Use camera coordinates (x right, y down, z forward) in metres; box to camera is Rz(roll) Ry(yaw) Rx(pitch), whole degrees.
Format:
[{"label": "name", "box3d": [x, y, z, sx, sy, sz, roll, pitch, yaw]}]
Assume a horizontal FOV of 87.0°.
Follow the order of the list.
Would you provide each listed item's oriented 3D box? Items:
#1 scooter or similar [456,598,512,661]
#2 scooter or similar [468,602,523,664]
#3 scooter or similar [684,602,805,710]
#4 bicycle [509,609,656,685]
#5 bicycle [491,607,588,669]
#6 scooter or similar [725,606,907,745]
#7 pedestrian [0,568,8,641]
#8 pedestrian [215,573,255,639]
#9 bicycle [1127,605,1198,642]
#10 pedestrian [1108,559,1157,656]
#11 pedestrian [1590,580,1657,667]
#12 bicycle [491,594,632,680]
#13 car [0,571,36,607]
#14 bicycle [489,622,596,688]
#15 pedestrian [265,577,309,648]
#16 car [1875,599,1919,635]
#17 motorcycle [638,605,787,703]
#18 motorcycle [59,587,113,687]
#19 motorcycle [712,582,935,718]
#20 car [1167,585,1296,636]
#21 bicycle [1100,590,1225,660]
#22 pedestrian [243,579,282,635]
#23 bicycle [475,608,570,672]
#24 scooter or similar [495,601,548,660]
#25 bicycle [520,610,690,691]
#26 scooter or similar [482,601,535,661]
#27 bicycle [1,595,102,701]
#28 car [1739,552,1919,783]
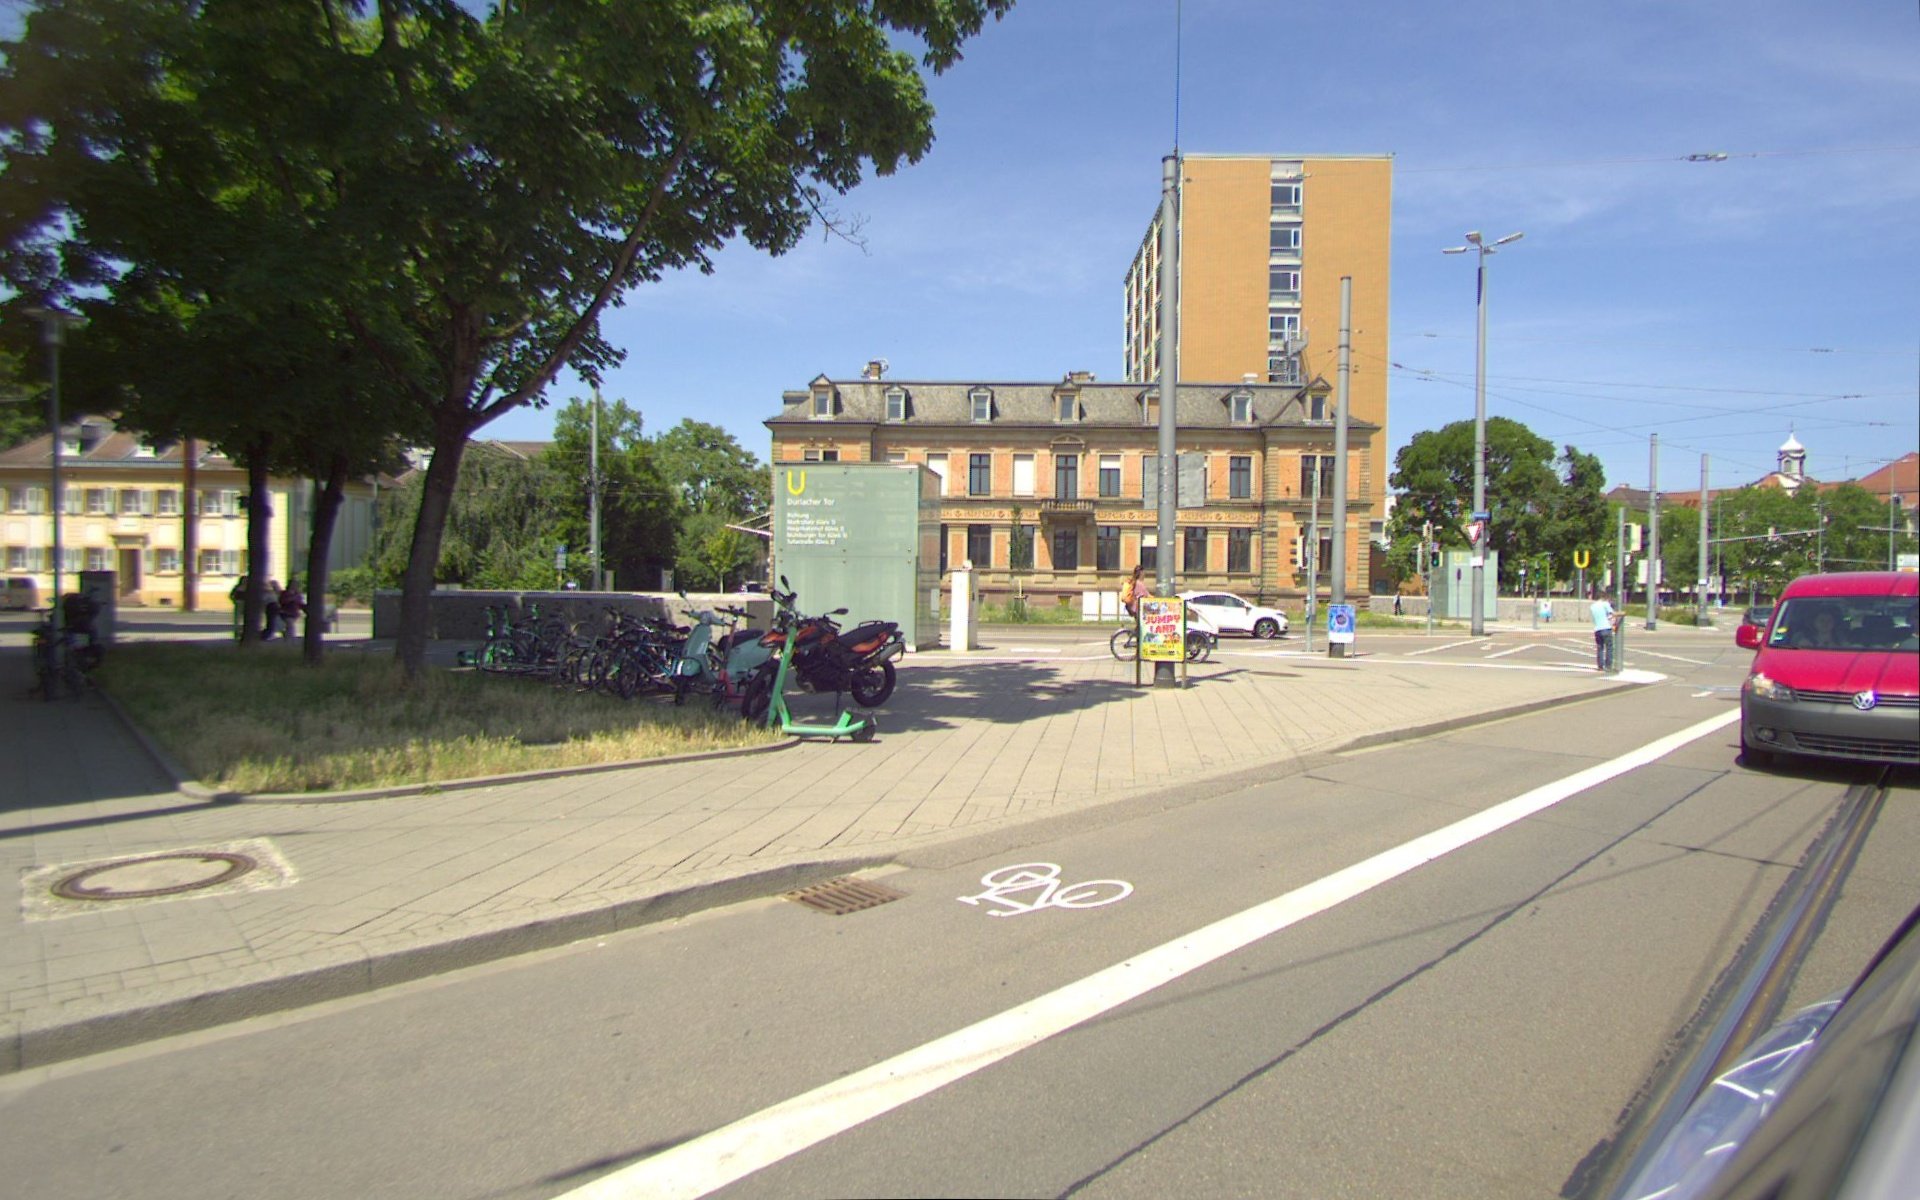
[{"label": "scooter or similar", "box3d": [-8.878, 0.550, 18.875, 0.972, 1.140, 0.267, 1, 0, 13]}, {"label": "scooter or similar", "box3d": [-8.814, 0.626, 19.201, 0.972, 1.140, 0.267, 1, 0, 13]}, {"label": "scooter or similar", "box3d": [-2.541, 0.624, 12.019, 0.599, 1.166, 1.361, 1, 2, 37]}, {"label": "bicycle", "box3d": [-5.225, 0.622, 14.087, 1.806, 0.977, 0.646, 0, 1, -41]}, {"label": "bicycle", "box3d": [-7.312, 0.641, 17.658, 0.500, 1.004, 1.552, 1, 1, 32]}, {"label": "scooter or similar", "box3d": [-1.322, 0.656, 9.352, 1.505, 1.170, 0.711, 1, 0, 19]}, {"label": "pedestrian", "box3d": [-23.173, 0.105, 24.025, 0.575, 1.720, 0.613, 1, 0, 6]}, {"label": "pedestrian", "box3d": [-19.099, 0.151, 26.670, 0.575, 1.720, 0.613, 1, 0, 7]}, {"label": "bicycle", "box3d": [5.882, 0.663, 29.430, 1.988, 1.018, 0.723, 1, 0, 12]}, {"label": "pedestrian", "box3d": [3.281, 0.132, 19.326, 0.809, 1.797, 0.814, 0, 1, 3]}, {"label": "pedestrian", "box3d": [14.161, 0.486, 21.628, 0.856, 1.802, 0.811, 0, 0, -11]}, {"label": "bicycle", "box3d": [-5.744, 0.508, 14.663, 0.645, 1.161, 1.810, 1, 1, 42]}, {"label": "car", "box3d": [-49.519, -0.584, 51.661, 3.420, 1.805, 1.639, 1, 0, 6]}, {"label": "bicycle", "box3d": [-6.223, 0.801, 15.132, 0.455, 0.917, 1.407, 1, 0, 42]}, {"label": "pedestrian", "box3d": [-15.811, 0.286, 23.775, 0.591, 1.616, 0.613, 1, 0, 7]}, {"label": "car", "box3d": [38.321, 0.659, 40.877, 1.561, 1.371, 3.416, 1, 1, 34]}, {"label": "motorcycle", "box3d": [-3.091, 0.638, 12.733, 1.718, 1.110, 0.691, -1, 1, -43]}, {"label": "motorcycle", "box3d": [-12.289, 0.482, 14.224, 0.494, 1.306, 1.642, 0, 1, -43]}, {"label": "motorcycle", "box3d": [-1.483, 0.493, 11.496, 2.552, 1.379, 0.764, -1, 1, -43]}, {"label": "car", "box3d": [9.300, 0.335, 34.948, 4.107, 1.625, 1.704, 1, 1, 9]}, {"label": "bicycle", "box3d": [3.828, 0.454, 19.313, 2.180, 1.266, 1.099, 1, 0, 3]}, {"label": "pedestrian", "box3d": [-18.393, 0.186, 26.696, 0.604, 1.461, 0.584, 1, 0, 7]}, {"label": "bicycle", "box3d": [-7.140, 0.643, 16.534, 1.399, 1.004, 0.457, 1, 0, -26]}, {"label": "scooter or similar", "box3d": [-8.658, 0.599, 19.984, 0.972, 1.140, 0.267, 1, 0, 13]}, {"label": "bicycle", "box3d": [-4.710, 0.642, 13.537, 2.047, 0.977, 0.646, 0, 1, -43]}, {"label": "scooter or similar", "box3d": [-8.744, 0.591, 19.602, 0.972, 1.140, 0.267, 1, 0, 13]}, {"label": "bicycle", "box3d": [-11.327, 0.556, 12.596, 1.873, 1.193, 0.704, 1, 1, 41]}, {"label": "car", "box3d": [8.772, 0.525, 9.731, 1.750, 1.835, 4.035, 1, 1, 42]}]
